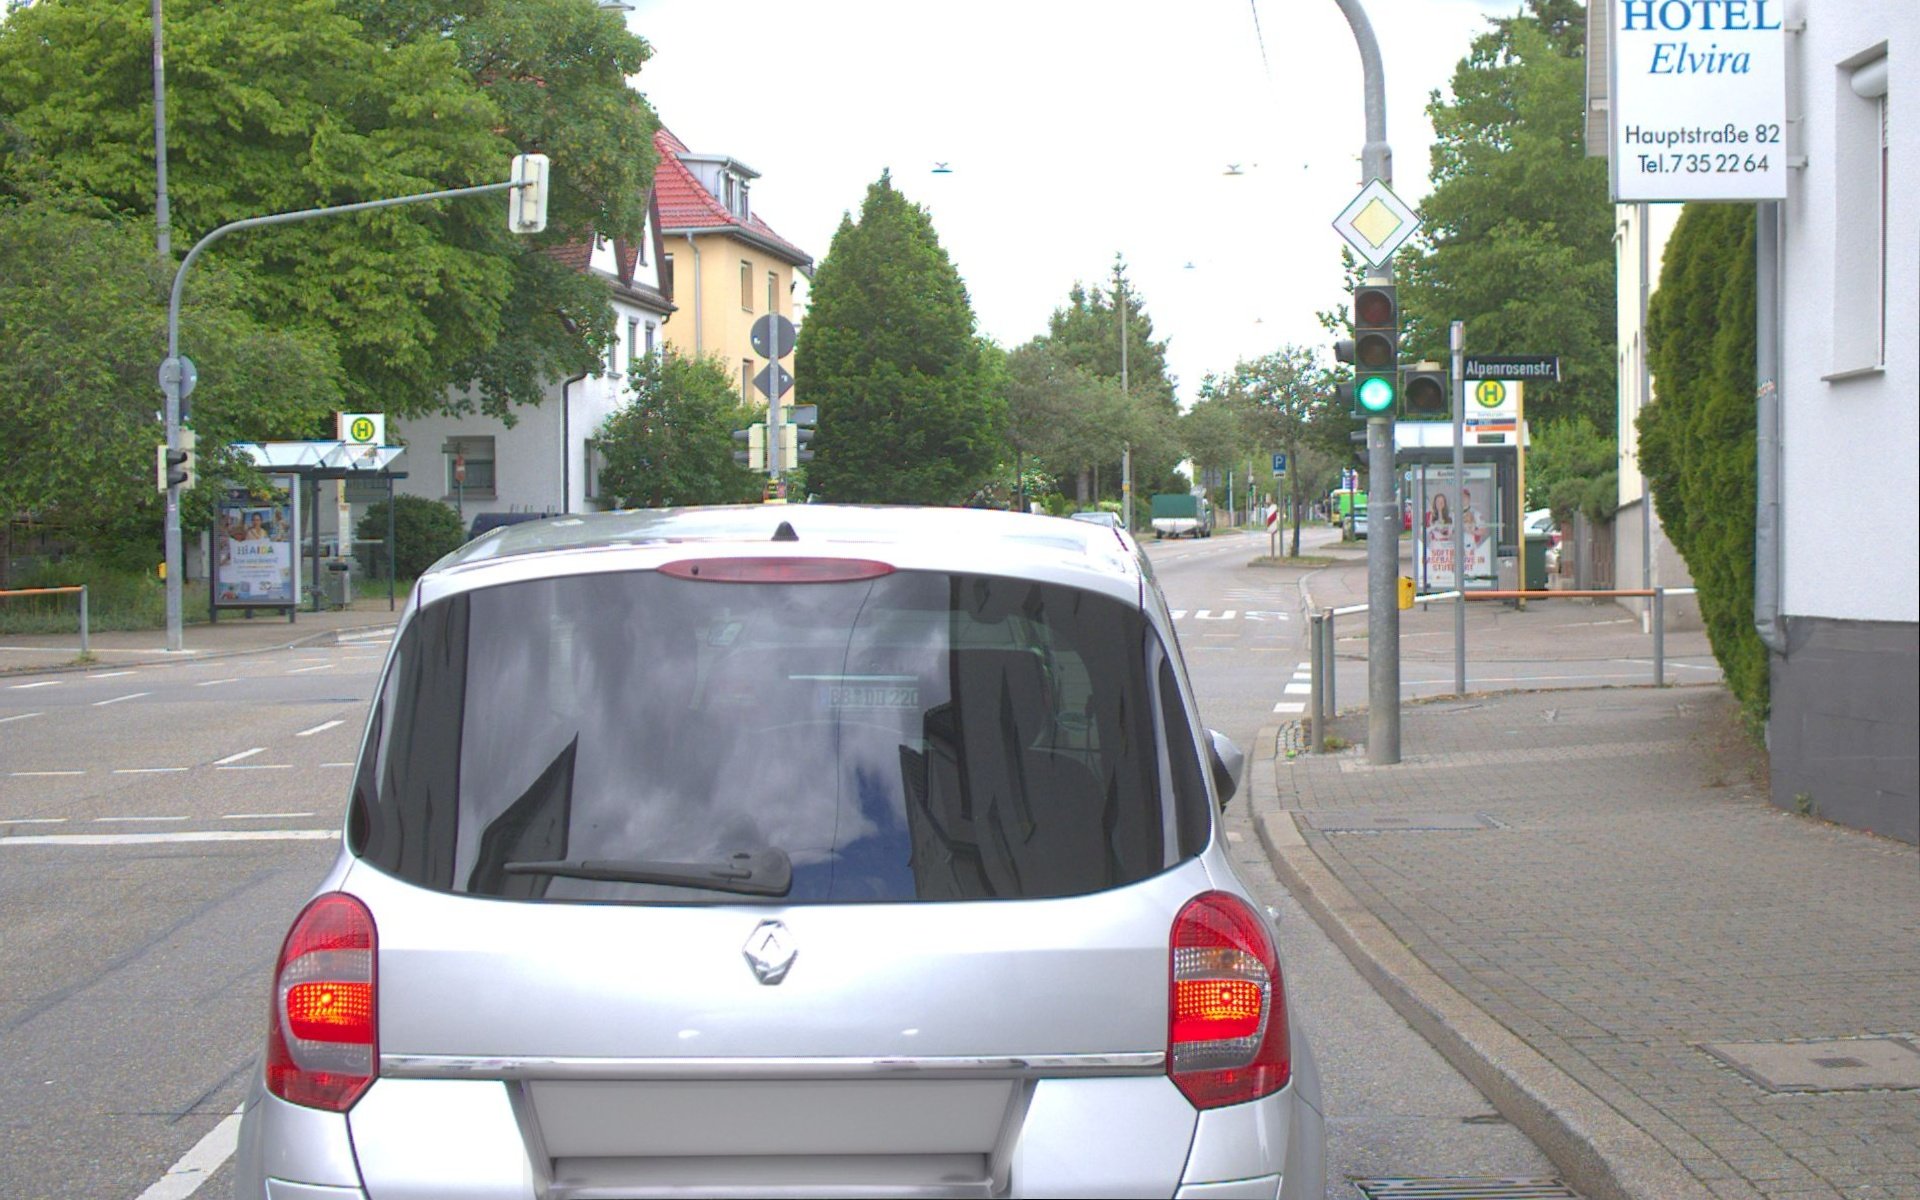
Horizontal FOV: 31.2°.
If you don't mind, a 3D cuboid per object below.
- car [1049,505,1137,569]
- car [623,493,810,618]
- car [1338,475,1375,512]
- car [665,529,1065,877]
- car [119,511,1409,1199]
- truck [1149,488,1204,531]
[{"bbox_3d":[3.758,-1.754,96.477,1.858,1.742,3.998,1,1,11],"label":"car"},{"bbox_3d":[-3.783,-0.726,54.177,1.927,1.767,3.999,-4,1,10],"label":"car"},{"bbox_3d":[27.237,-7.296,235.983,2.060,2.503,5.593,1,1,11],"label":"car"},{"bbox_3d":[-0.453,0.429,17.061,1.755,1.525,3.797,0,1,-1],"label":"car"},{"bbox_3d":[-0.304,0.617,6.698,1.755,1.525,4.000,0,1,-1],"label":"car"},{"bbox_3d":[10.499,-4.364,166.492,2.102,2.007,5.745,1,1,9],"label":"truck"}]
